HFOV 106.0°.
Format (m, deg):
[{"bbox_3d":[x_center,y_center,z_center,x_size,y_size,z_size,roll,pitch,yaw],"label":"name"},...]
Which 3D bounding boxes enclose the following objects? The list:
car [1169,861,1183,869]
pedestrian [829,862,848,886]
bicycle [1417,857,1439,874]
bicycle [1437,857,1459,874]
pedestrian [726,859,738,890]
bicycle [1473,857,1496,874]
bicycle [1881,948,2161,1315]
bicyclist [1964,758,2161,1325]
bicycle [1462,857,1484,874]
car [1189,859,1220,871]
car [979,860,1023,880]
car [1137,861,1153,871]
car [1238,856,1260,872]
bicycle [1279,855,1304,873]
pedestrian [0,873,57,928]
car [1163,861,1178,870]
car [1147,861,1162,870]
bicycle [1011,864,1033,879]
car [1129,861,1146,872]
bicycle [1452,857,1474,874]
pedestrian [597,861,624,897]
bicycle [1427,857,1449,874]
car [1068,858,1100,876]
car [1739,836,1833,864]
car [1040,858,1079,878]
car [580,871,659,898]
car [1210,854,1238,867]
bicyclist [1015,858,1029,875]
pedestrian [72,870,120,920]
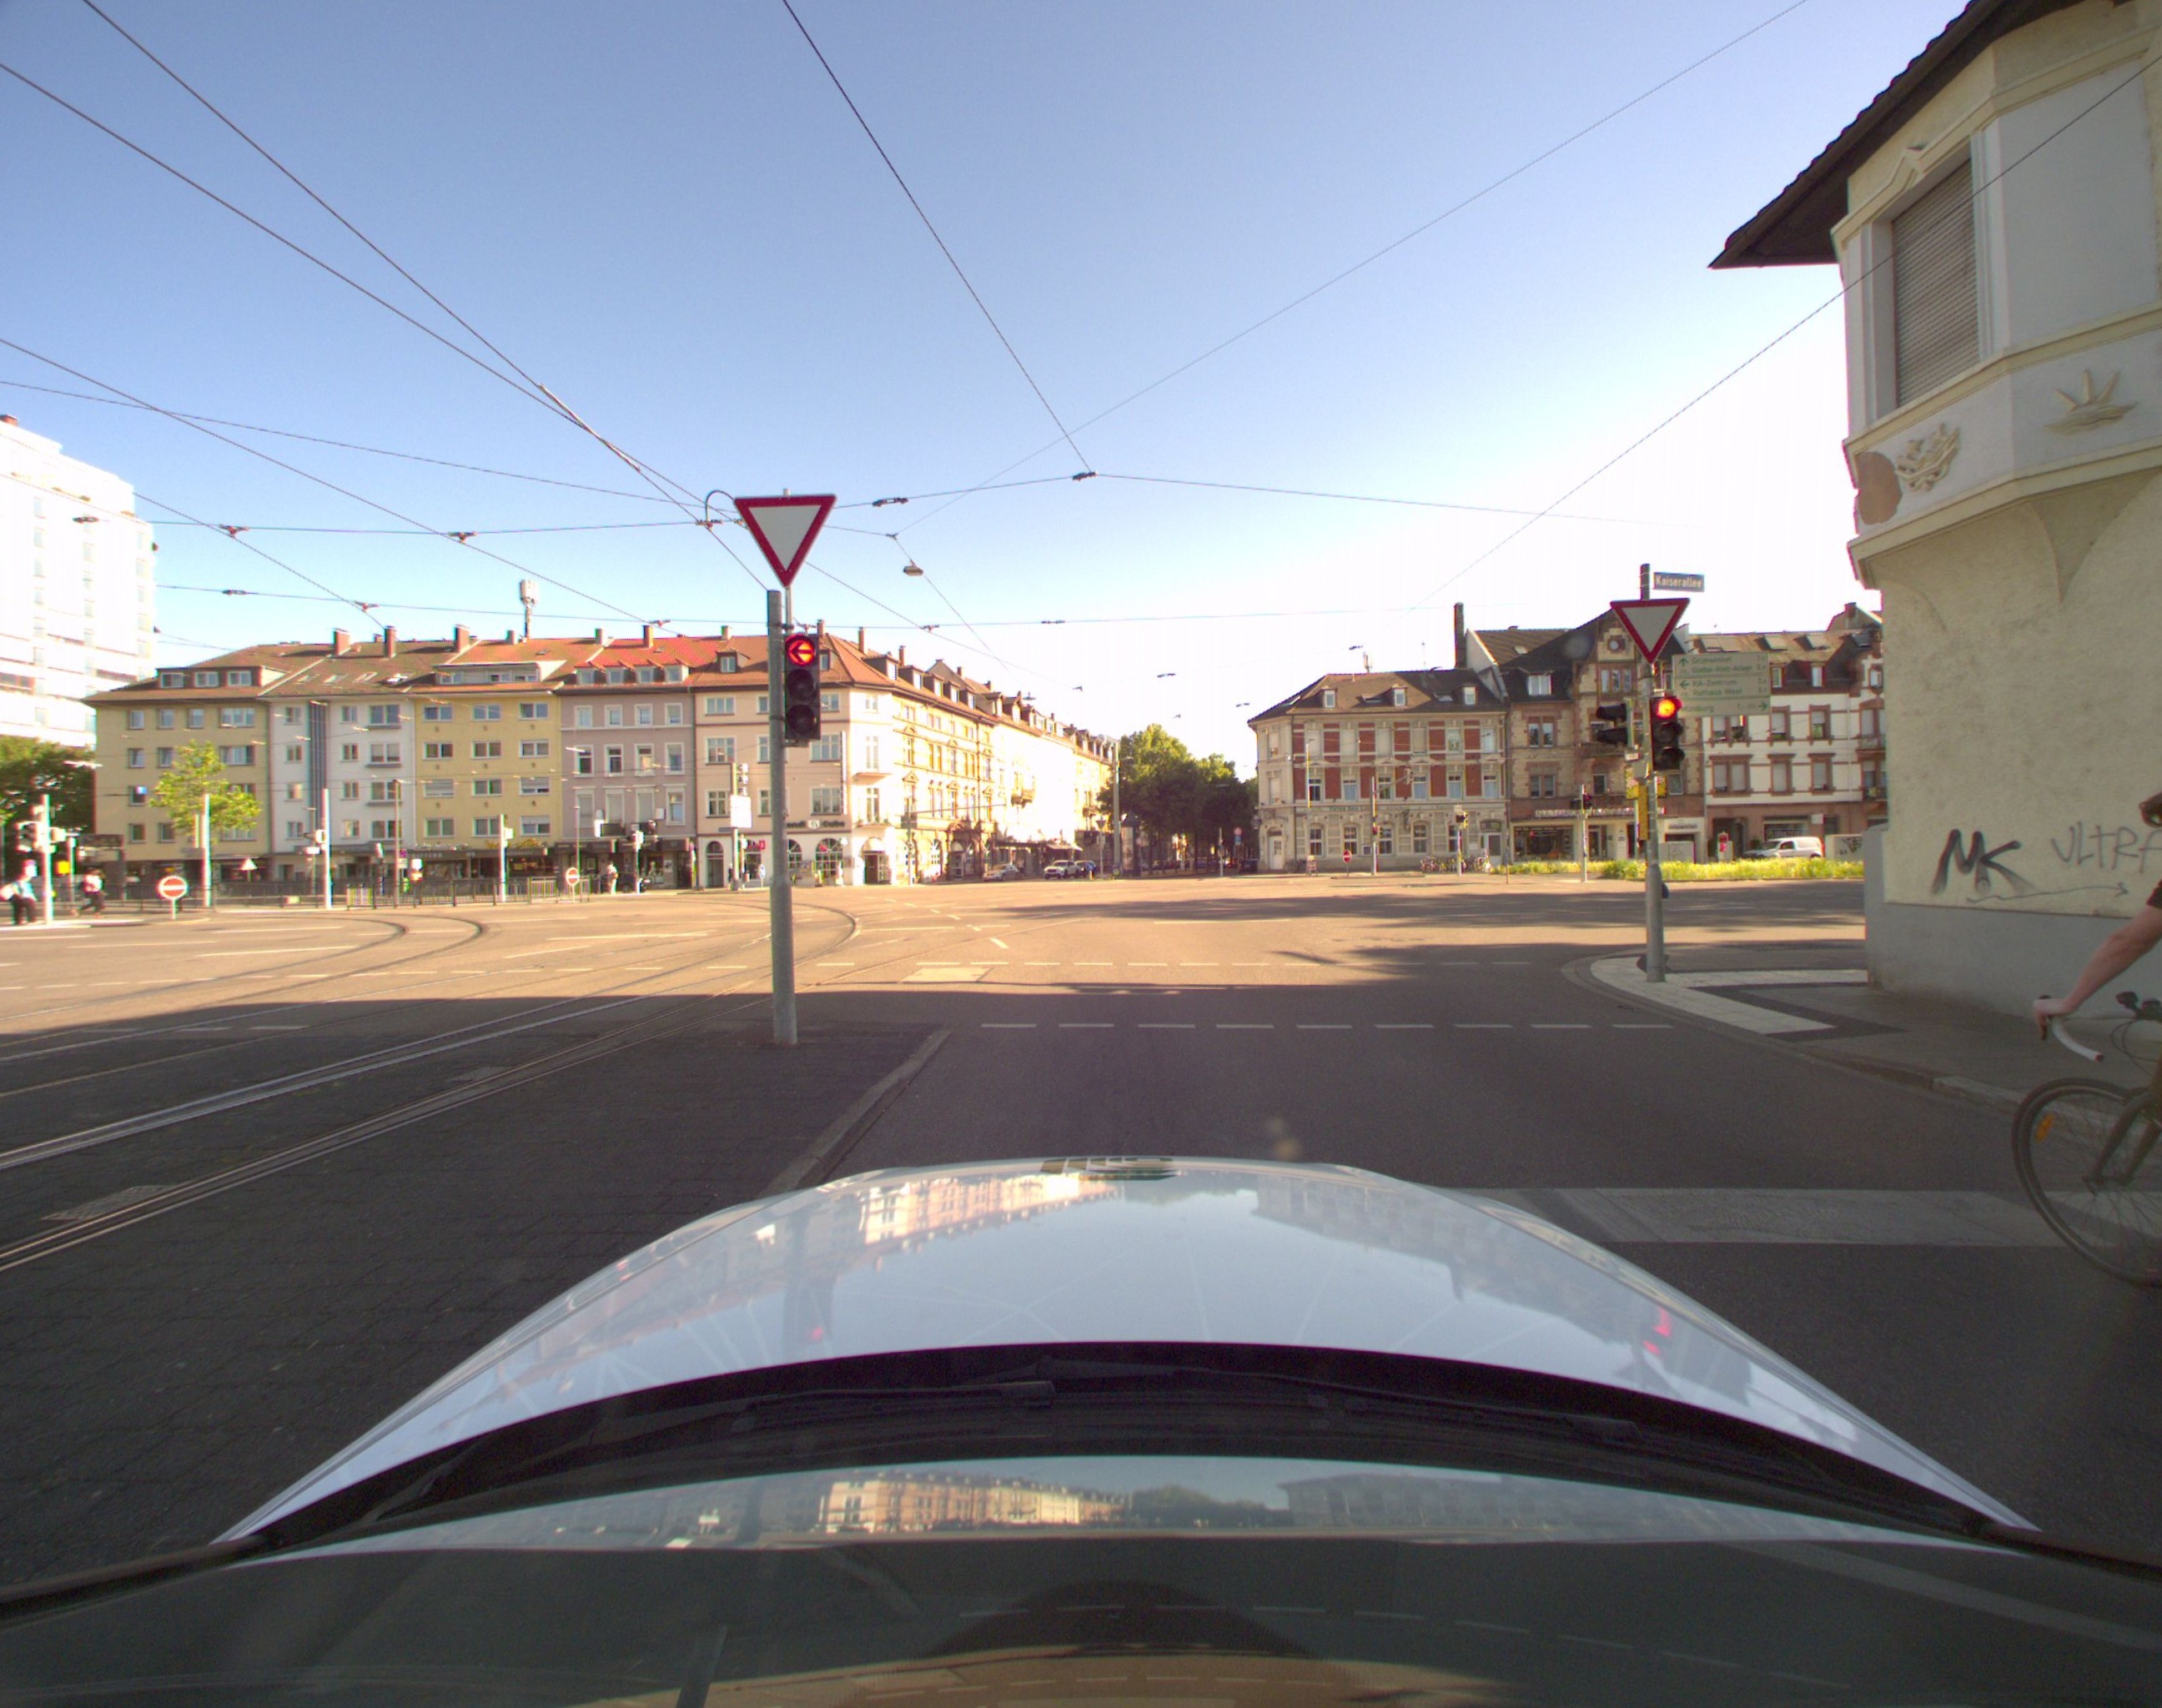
[{"bbox_3d":[15.869,1.836,136.201,1.728,1.397,4.141,1,0,16],"label":"car"},{"bbox_3d":[-16.534,1.371,55.470,1.064,1.591,1.040,-1,0,-8],"label":"pedestrian"},{"bbox_3d":[22.497,0.738,52.837,0.603,1.051,1.641,-1,0,-3],"label":"bicycle"},{"bbox_3d":[23.814,0.728,52.867,0.603,1.051,1.641,-1,0,-3],"label":"bicycle"},{"bbox_3d":[-22.777,1.356,53.121,0.506,2.013,0.505,-1,0,5],"label":"pedestrian"},{"bbox_3d":[26.054,0.710,52.609,0.603,1.051,1.641,-1,0,-3],"label":"bicycle"},{"bbox_3d":[3.581,0.905,2.506,0.530,1.016,1.759,-1,0,2],"label":"bicycle"},{"bbox_3d":[3.578,0.572,2.494,0.557,1.730,1.084,0,-1,2],"label":"bicyclist"},{"bbox_3d":[25.316,0.715,52.616,0.603,1.051,1.641,-1,0,-3],"label":"bicycle"},{"bbox_3d":[17.490,1.527,114.990,4.078,1.646,1.754,1,0,17],"label":"car"},{"bbox_3d":[-6.596,1.303,67.698,2.080,1.545,4.382,-2,0,16],"label":"car"},{"bbox_3d":[9.180,1.687,115.770,1.729,1.397,4.137,1,0,12],"label":"car"},{"bbox_3d":[16.908,0.991,82.049,1.637,1.524,3.772,-2,-1,20],"label":"car"},{"bbox_3d":[14.697,0.689,56.937,1.625,1.222,0.609,-1,0,18],"label":"bicycle"},{"bbox_3d":[-32.365,1.424,25.051,0.708,1.625,0.799,-1,0,-1],"label":"pedestrian"},{"bbox_3d":[14.445,1.812,131.454,1.728,1.397,4.141,1,0,16],"label":"car"},{"bbox_3d":[11.068,1.730,122.707,1.729,1.397,4.137,1,0,12],"label":"car"},{"bbox_3d":[-4.767,1.429,65.898,0.745,1.135,2.821,-1,0,16],"label":"bicycle"},{"bbox_3d":[7.606,1.651,110.000,1.729,1.397,4.137,1,0,12],"label":"car"},{"bbox_3d":[24.641,0.720,52.567,0.603,1.051,1.641,-1,0,-3],"label":"bicycle"},{"bbox_3d":[-24.569,1.309,42.555,0.871,1.818,0.811,-1,0,2],"label":"pedestrian"},{"bbox_3d":[23.150,0.733,52.867,0.603,1.051,1.641,-1,0,-3],"label":"bicycle"},{"bbox_3d":[0.293,1.150,73.691,1.979,1.513,4.015,-1,0,14],"label":"car"},{"bbox_3d":[45.386,-0.233,52.468,4.356,1.654,1.999,-1,0,-2],"label":"car"},{"bbox_3d":[-1.729,1.162,67.367,2.080,1.499,4.017,-2,0,16],"label":"car"},{"bbox_3d":[-30.273,1.990,53.532,3.978,1.464,1.998,-2,0,-4],"label":"car"},{"bbox_3d":[23.377,1.088,133.069,4.074,1.919,1.756,1,0,23],"label":"car"},{"bbox_3d":[-4.764,0.986,65.869,0.787,1.375,1.113,-1,0,16],"label":"bicyclist"},{"bbox_3d":[-34.497,1.418,28.529,0.694,1.698,0.781,-1,0,-2],"label":"pedestrian"}]
